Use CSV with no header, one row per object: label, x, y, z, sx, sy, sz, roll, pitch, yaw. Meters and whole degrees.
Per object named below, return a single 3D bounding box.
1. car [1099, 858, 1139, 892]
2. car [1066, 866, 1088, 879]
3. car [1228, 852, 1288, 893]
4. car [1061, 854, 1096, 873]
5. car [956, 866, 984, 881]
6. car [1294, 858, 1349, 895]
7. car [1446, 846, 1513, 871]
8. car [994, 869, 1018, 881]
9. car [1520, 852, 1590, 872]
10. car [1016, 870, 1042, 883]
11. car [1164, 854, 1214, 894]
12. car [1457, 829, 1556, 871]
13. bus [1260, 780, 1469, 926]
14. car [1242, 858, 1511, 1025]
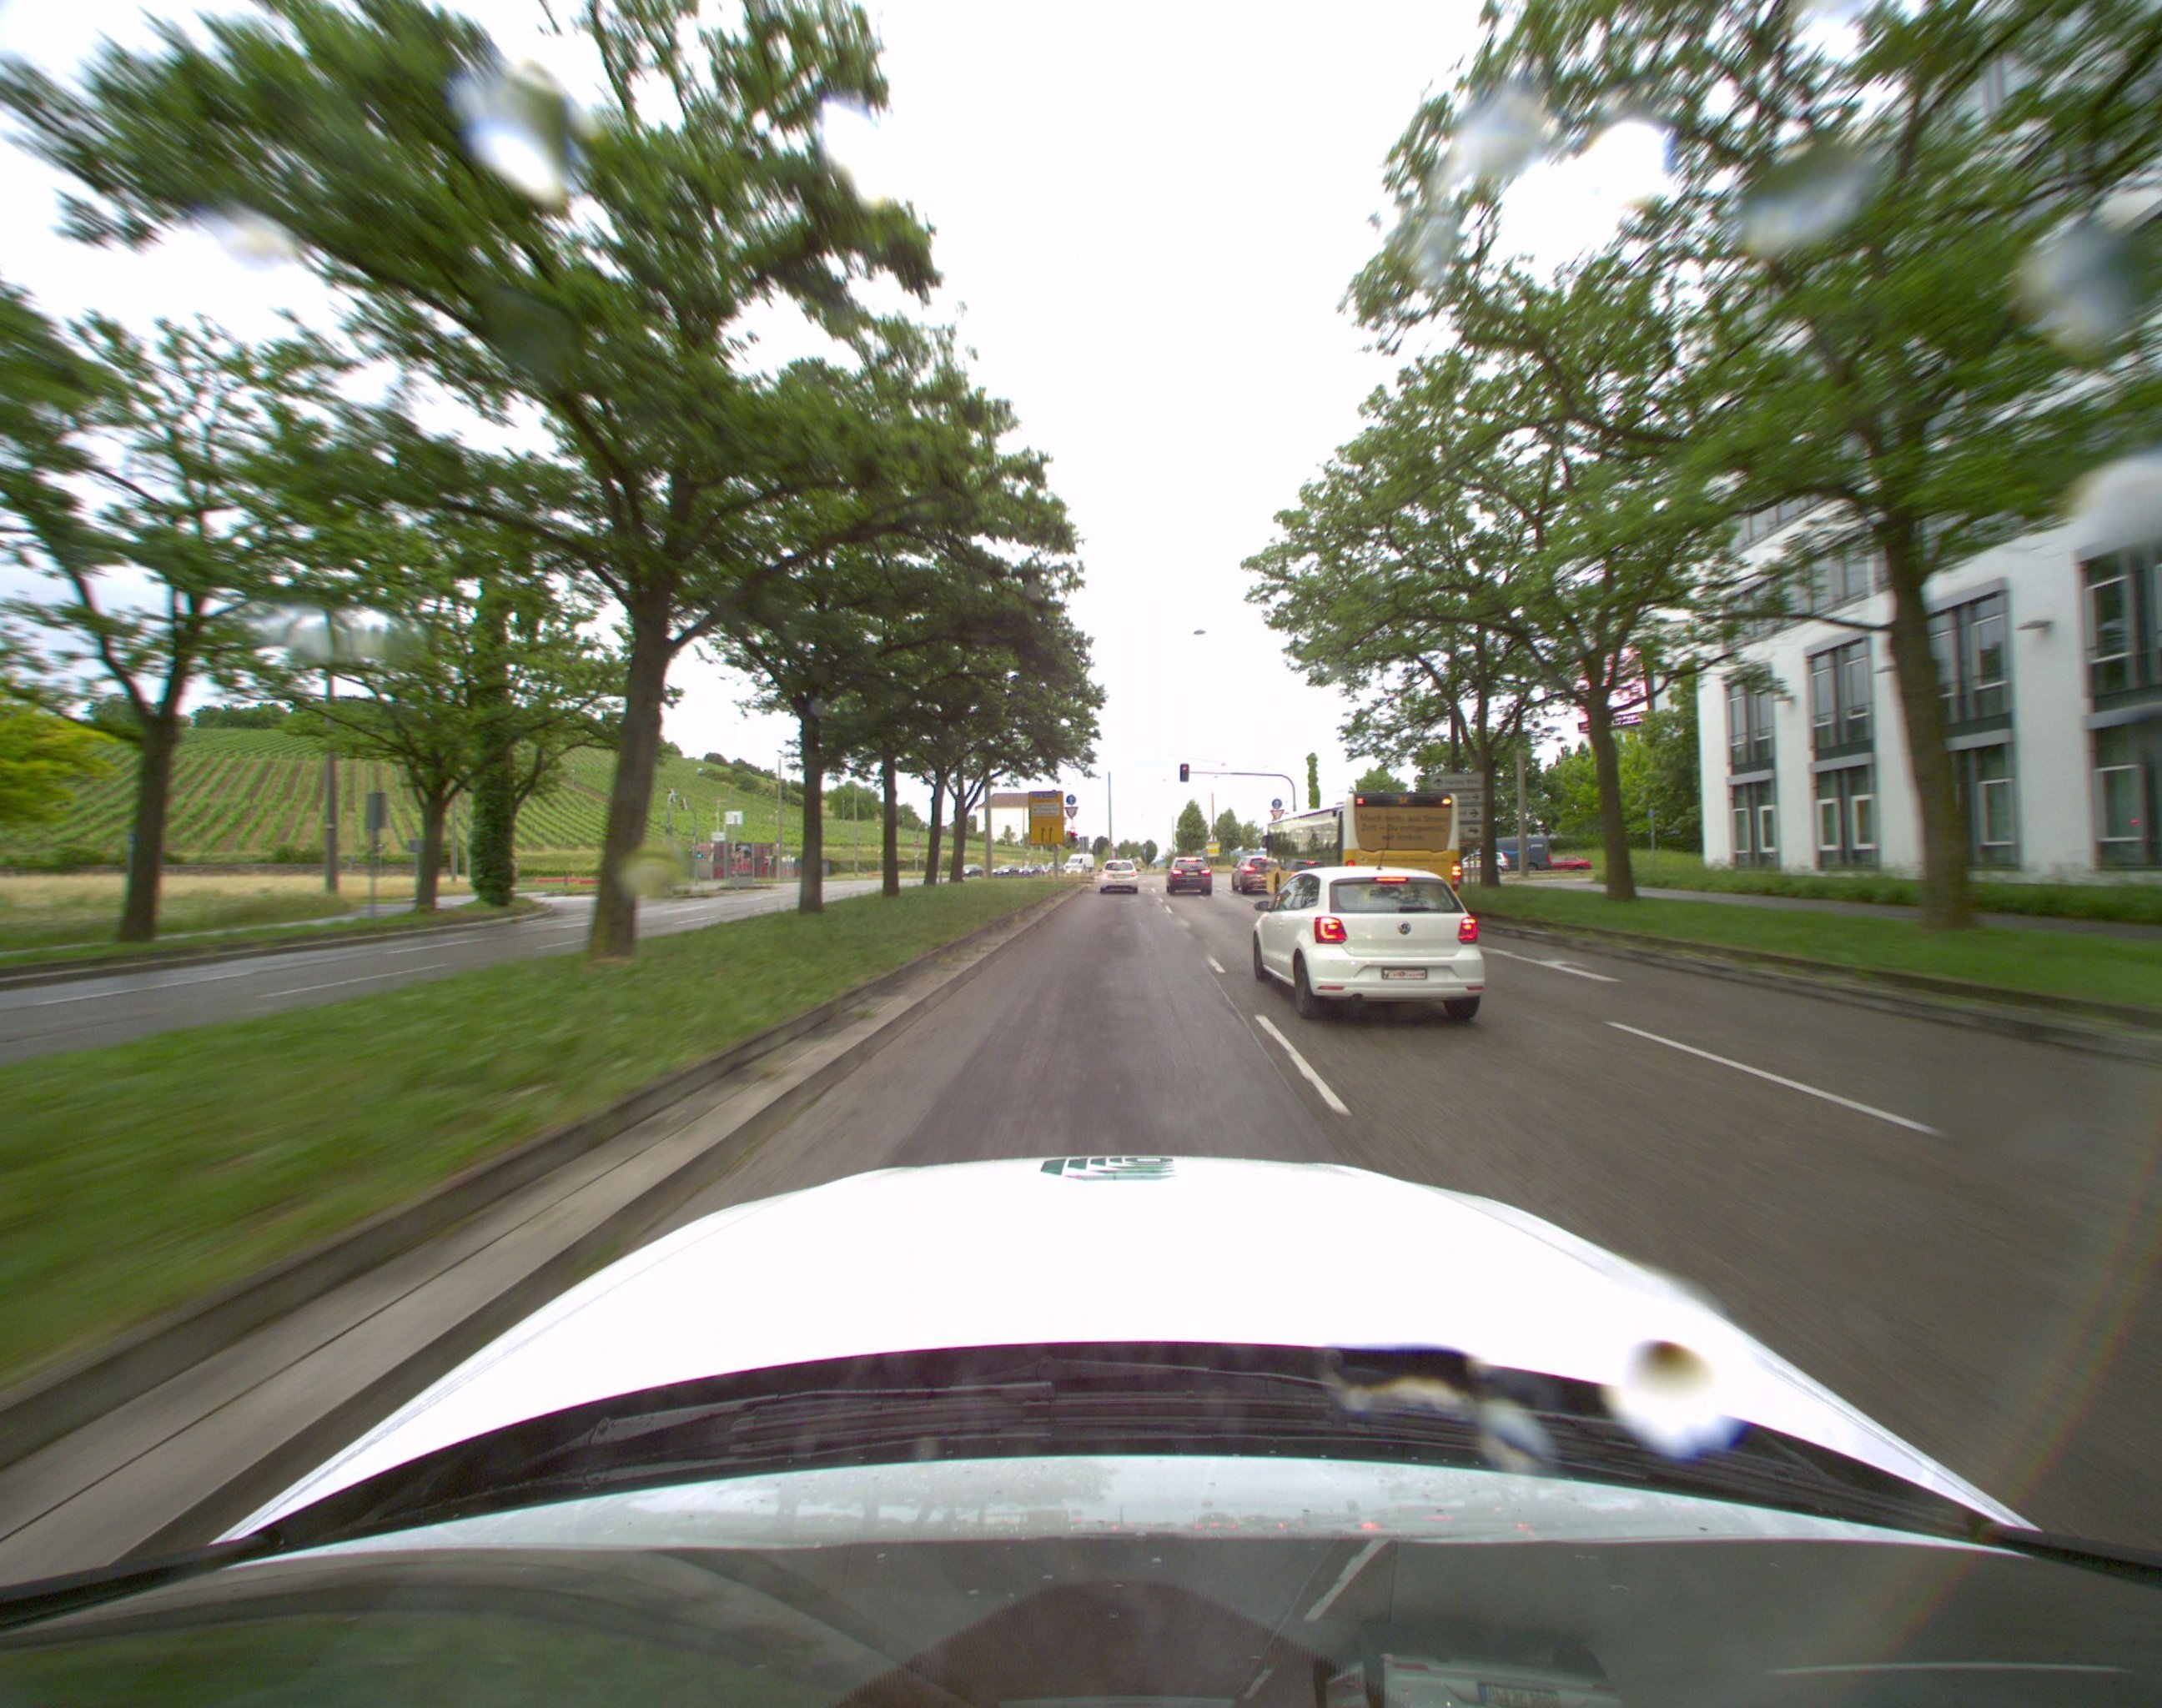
car,1.762,0.959,37.352,1.710,1.489,4.003,0,-1,3
car,-0.456,2.082,92.576,1.765,1.425,4.384,-2,-2,9
car,7.832,0.778,36.437,1.857,1.674,4.568,0,0,3
car,-0.318,1.334,115.150,1.974,2.559,6.208,0,-2,31
car,-12.502,2.206,92.376,1.818,1.624,4.578,0,-1,10
car,10.414,0.950,35.097,1.849,1.498,4.173,0,-2,22
car,26.989,0.303,55.178,4.011,1.569,1.882,-1,-3,27
car,-8.673,2.433,94.041,1.775,1.396,3.891,0,-2,9
car,35.751,0.611,61.528,4.480,1.470,2.176,0,-2,29
car,-5.865,2.543,91.845,1.773,1.396,3.896,0,-2,14
car,4.662,0.865,35.567,1.876,1.596,4.117,1,-1,4
car,29.670,-0.189,56.835,5.952,2.742,2.094,-1,-3,30
bus,7.538,-0.001,23.894,2.715,3.152,12.158,1,0,4
car,2.961,0.804,9.033,1.734,1.432,3.813,1,-1,2
